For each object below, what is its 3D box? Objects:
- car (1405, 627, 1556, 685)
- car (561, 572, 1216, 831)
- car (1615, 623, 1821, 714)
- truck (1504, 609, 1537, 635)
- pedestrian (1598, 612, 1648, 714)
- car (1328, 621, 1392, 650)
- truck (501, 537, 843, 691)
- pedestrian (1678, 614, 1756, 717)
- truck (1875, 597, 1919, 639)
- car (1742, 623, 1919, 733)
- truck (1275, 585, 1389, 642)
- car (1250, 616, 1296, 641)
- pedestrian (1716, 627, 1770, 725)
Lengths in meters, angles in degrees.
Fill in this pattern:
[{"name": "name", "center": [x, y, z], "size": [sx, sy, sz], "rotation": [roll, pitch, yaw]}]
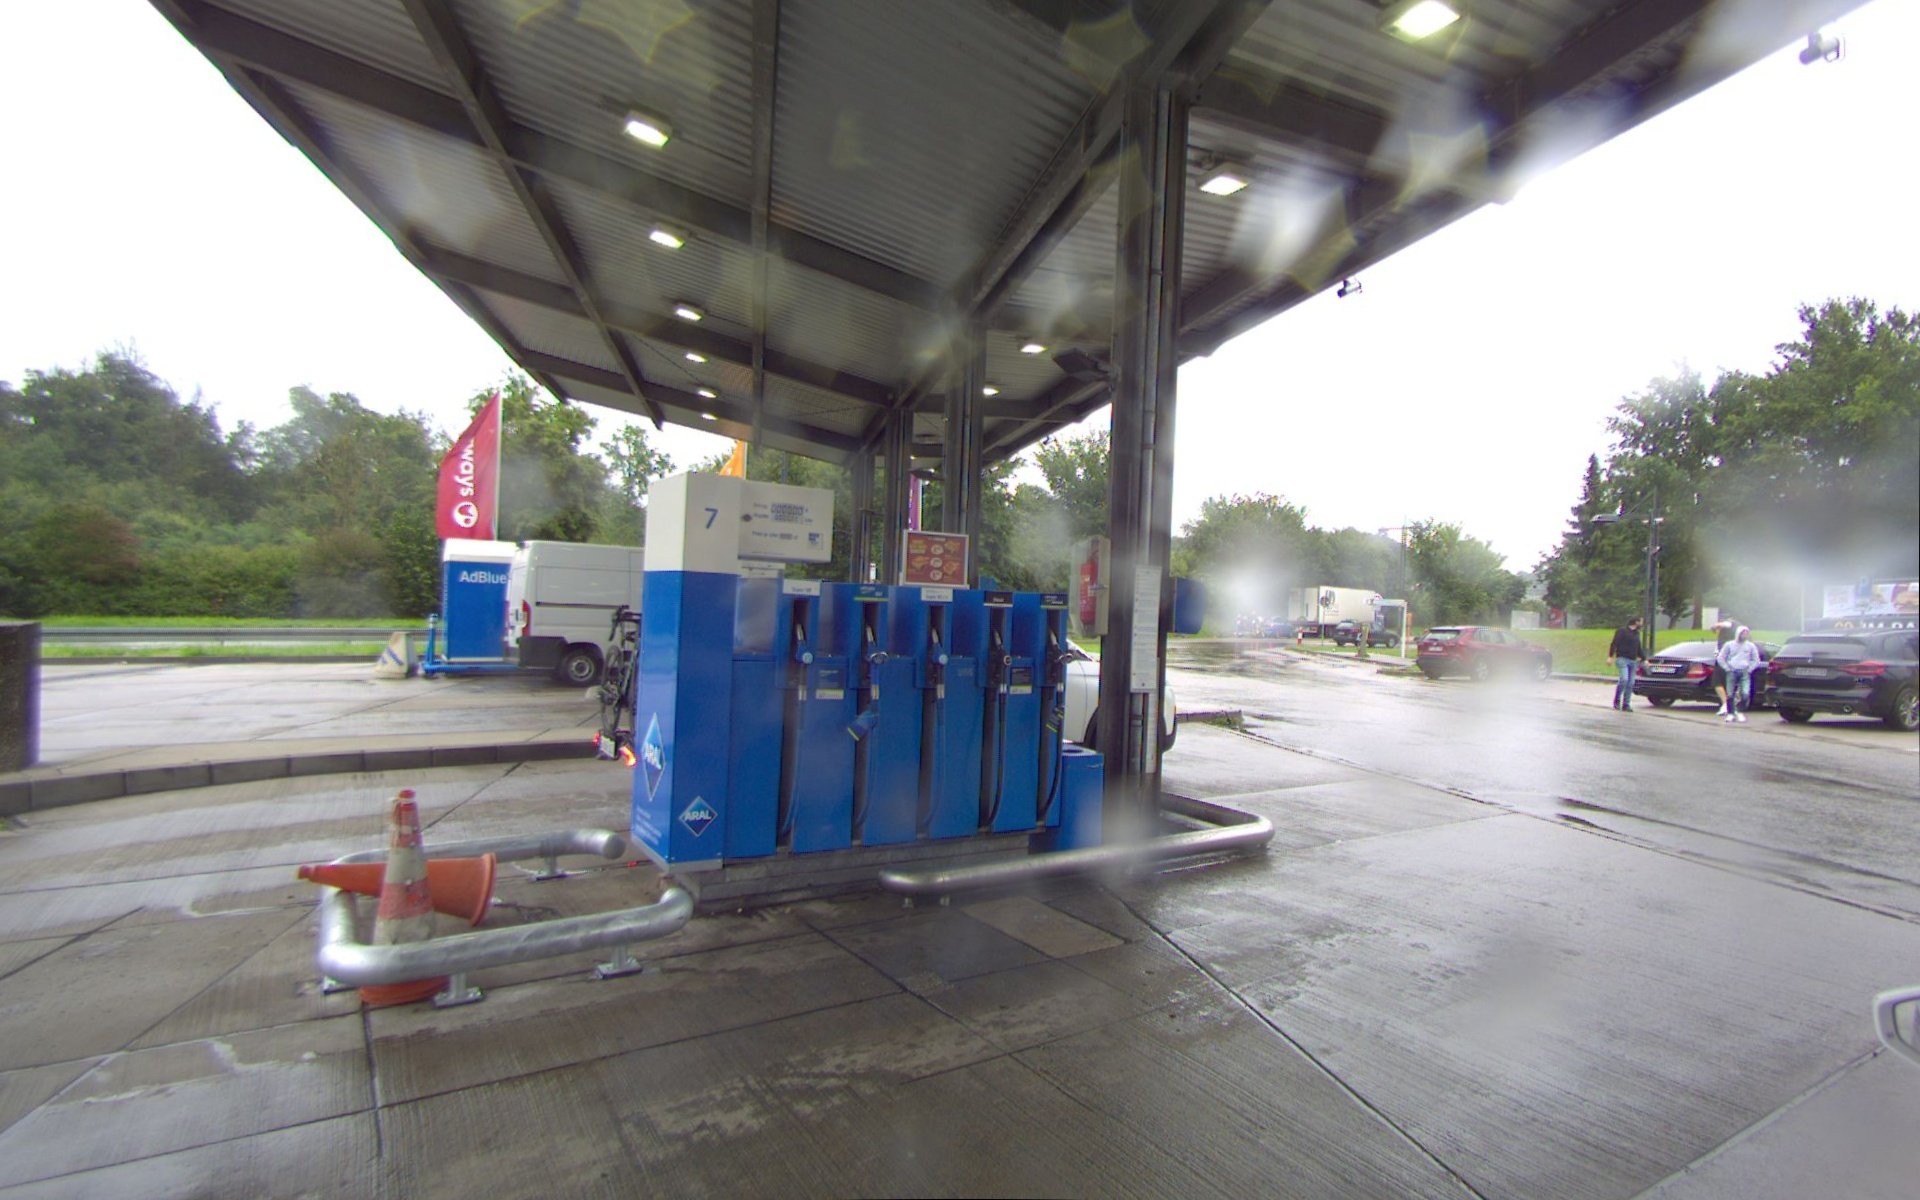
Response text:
[{"name": "car", "center": [16.070, 1.677, 30.991], "size": [4.283, 1.666, 1.933], "rotation": [1, -2, -25]}, {"name": "car", "center": [-0.431, 0.706, 8.447], "size": [5.210, 1.629, 1.852], "rotation": [2, 0, -30]}, {"name": "car", "center": [15.936, 1.363, 21.080], "size": [4.293, 1.734, 2.007], "rotation": [1, -2, -31]}, {"name": "truck", "center": [70.864, 2.731, 126.927], "size": [2.446, 3.126, 7.327], "rotation": [2, 0, 38]}, {"name": "pedestrian", "center": [12.939, 1.201, 19.619], "size": [0.691, 1.912, 0.892], "rotation": [2, 0, 29]}, {"name": "car", "center": [25.477, 2.252, 63.945], "size": [3.964, 1.700, 1.979], "rotation": [3, -1, -37]}, {"name": "truck", "center": [-5.344, 0.298, 18.928], "size": [5.793, 2.527, 2.221], "rotation": [2, 0, -30]}, {"name": "pedestrian", "center": [14.591, 1.247, 19.382], "size": [0.692, 1.912, 0.951], "rotation": [2, 0, -13]}, {"name": "truck", "center": [68.845, 1.336, 71.694], "size": [5.285, 2.959, 2.191], "rotation": [2, 0, -5]}, {"name": "car", "center": [16.166, 1.277, 17.457], "size": [4.274, 1.734, 2.016], "rotation": [1, -1, -18]}, {"name": "truck", "center": [31.868, 1.199, 85.142], "size": [3.498, 4.397, 16.922], "rotation": [2, 0, 40]}, {"name": "car", "center": [22.894, 2.074, 73.426], "size": [1.787, 1.704, 3.934], "rotation": [2, 0, 40]}, {"name": "pedestrian", "center": [13.864, 1.319, 17.804], "size": [0.692, 1.653, 0.950], "rotation": [2, 0, 36]}]
